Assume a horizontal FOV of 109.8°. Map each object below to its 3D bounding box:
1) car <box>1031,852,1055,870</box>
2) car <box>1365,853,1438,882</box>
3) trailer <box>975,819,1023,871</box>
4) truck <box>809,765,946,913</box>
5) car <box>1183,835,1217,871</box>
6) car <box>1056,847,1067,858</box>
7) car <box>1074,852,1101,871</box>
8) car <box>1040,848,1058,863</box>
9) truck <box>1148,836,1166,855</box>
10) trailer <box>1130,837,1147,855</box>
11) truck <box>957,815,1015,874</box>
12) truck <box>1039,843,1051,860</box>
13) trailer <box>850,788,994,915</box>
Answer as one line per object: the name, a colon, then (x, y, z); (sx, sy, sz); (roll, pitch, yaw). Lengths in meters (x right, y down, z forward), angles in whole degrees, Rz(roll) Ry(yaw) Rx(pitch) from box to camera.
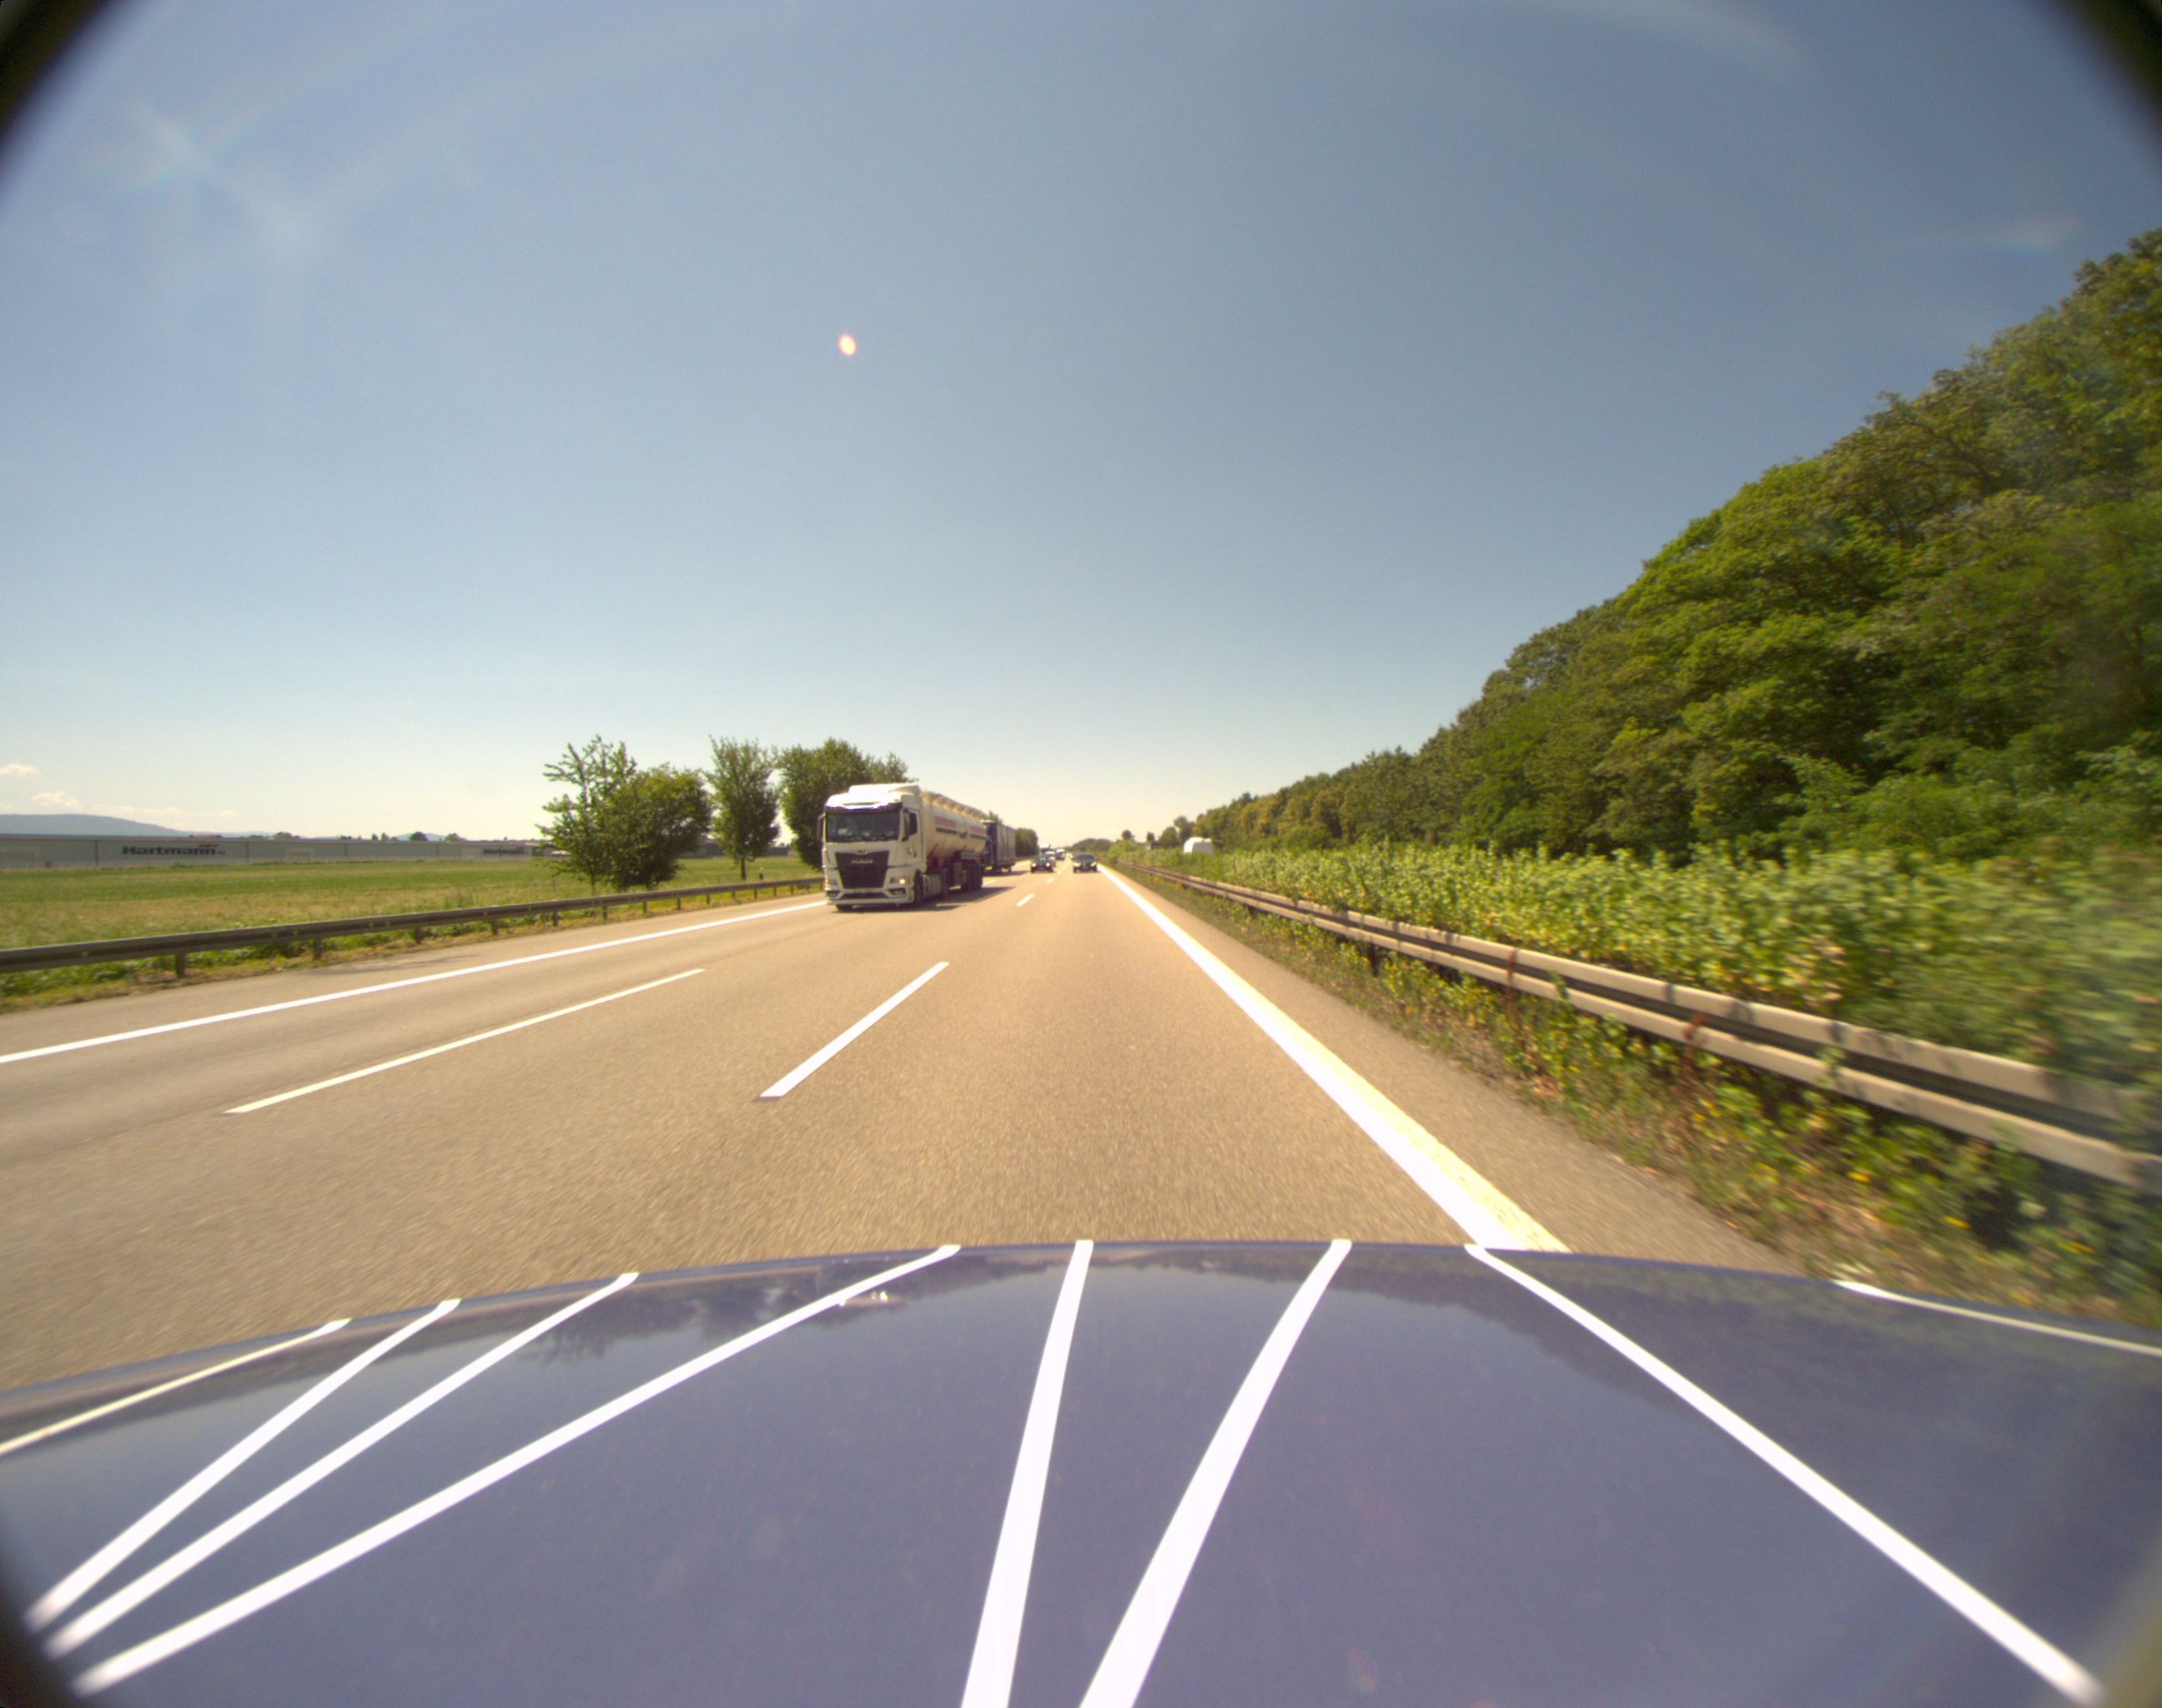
car: (-3.120, 0.552, 62.543); (1.841, 1.409, 4.496); (-1, 0, -1)
car: (17.025, 0.698, 40.567); (1.937, 1.395, 4.567); (-1, 0, 0)
trailer: (-7.084, -0.734, 67.042); (2.797, 4.180, 10.806); (-1, 0, 1)
truck: (-6.246, -0.435, 24.175); (2.797, 4.180, 5.000); (-1, 1, 2)
car: (9.703, -0.069, 62.198); (1.998, 2.809, 4.596); (-1, 1, 1)
car: (-3.781, -0.301, 145.696); (1.999, 2.002, 3.999); (-1, 1, 0)
car: (0.476, 0.542, 58.905); (1.887, 1.341, 4.466); (-1, 0, -1)
car: (-3.645, 0.168, 86.776); (1.887, 1.634, 3.999); (-1, 0, 0)
truck: (17.292, -1.903, 173.137); (3.021, 4.090, 9.999); (-1, 0, 0)
trailer: (13.682, -1.875, 182.091); (2.877, 3.986, 13.516); (-1, 0, 0)
truck: (-7.263, -0.706, 59.448); (2.797, 4.180, 10.807); (-1, 0, 2)
truck: (-9.409, -0.647, 200.729); (2.798, 4.180, 10.804); (-1, 0, -1)
trailer: (-5.960, -0.110, 31.345); (2.797, 4.180, 12.354); (-1, 0, 2)
